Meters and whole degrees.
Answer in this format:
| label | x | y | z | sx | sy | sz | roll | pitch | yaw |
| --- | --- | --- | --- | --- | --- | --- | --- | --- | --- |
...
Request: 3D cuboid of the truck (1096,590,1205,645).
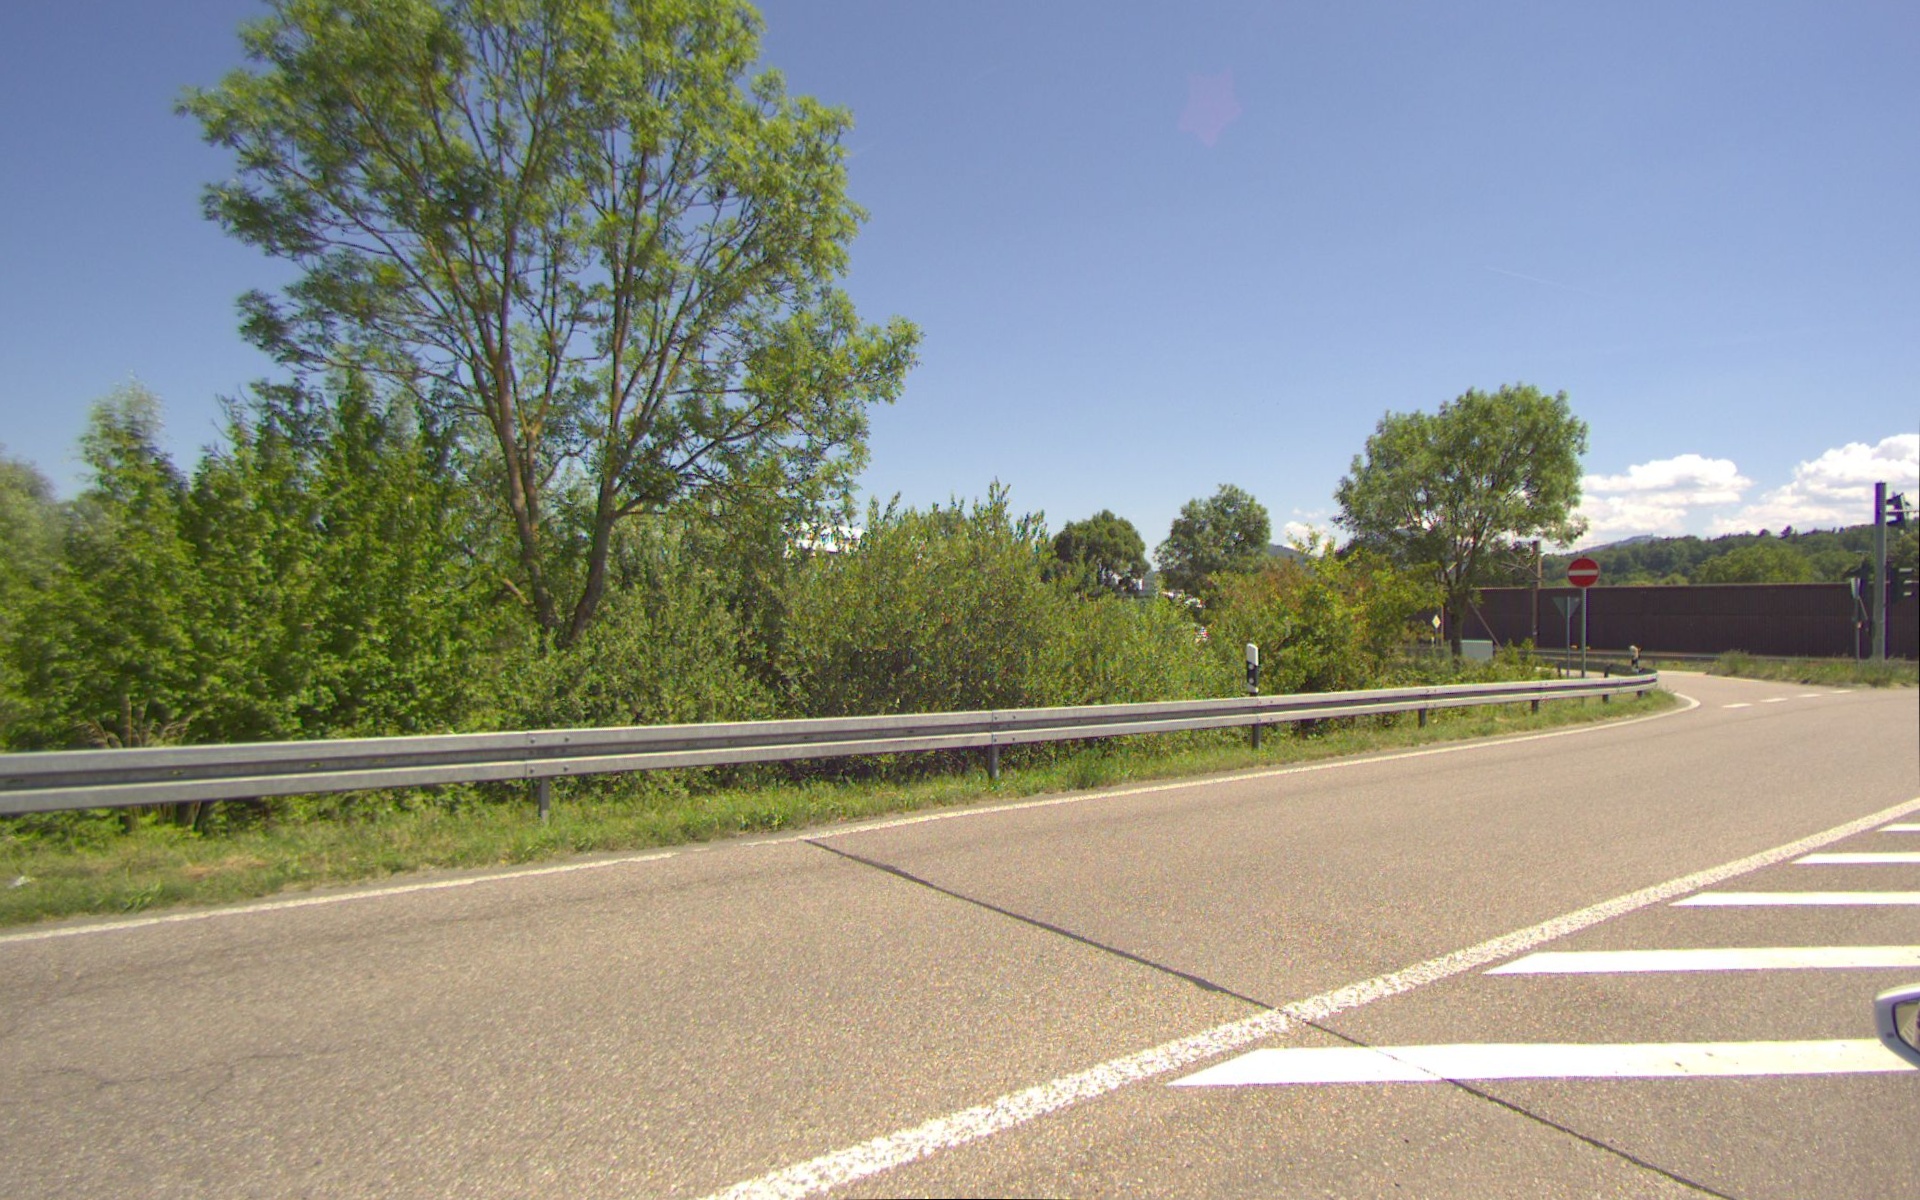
| label | x | y | z | sx | sy | sz | roll | pitch | yaw |
| --- | --- | --- | --- | --- | --- | --- | --- | --- | --- |
| truck | 12.699 | 1.127 | 67.957 | 2.100 | 3.516 | 9.029 | 1 | -1 | -28 |
